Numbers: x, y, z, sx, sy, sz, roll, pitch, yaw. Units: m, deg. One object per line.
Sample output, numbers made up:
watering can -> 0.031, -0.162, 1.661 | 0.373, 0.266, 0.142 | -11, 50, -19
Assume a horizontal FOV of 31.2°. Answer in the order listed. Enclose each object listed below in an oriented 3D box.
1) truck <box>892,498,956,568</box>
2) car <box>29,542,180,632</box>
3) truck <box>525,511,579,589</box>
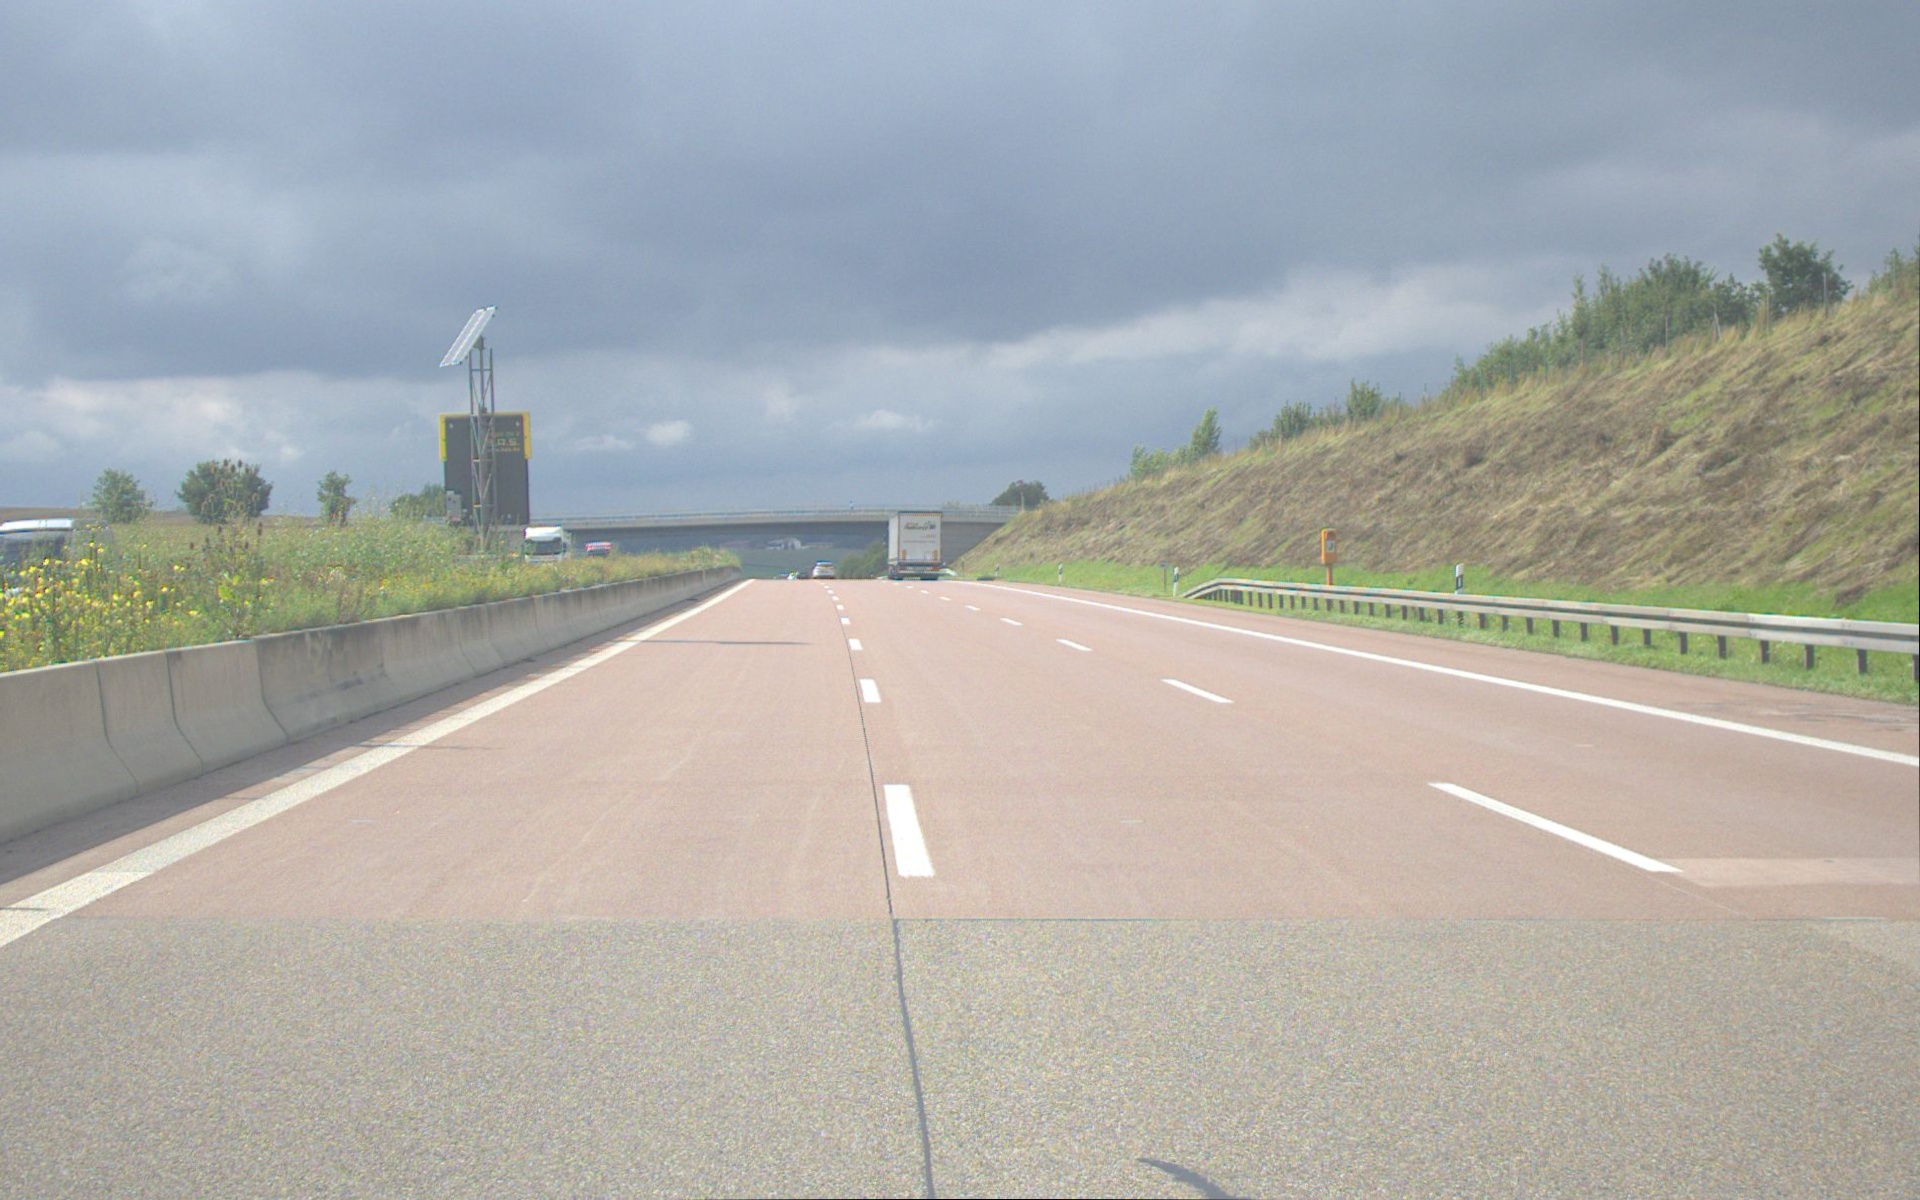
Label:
truck -> -2.187, -3.990, 204.155 | 3.617, 3.932, 11.175 | 1, 1, -1
car -> -19.354, -0.336, 78.053 | 2.057, 1.906, 5.704 | -1, 1, -1
truck -> -27.539, -3.410, 232.208 | 2.990, 5.048, 10.987 | 1, 1, -4
